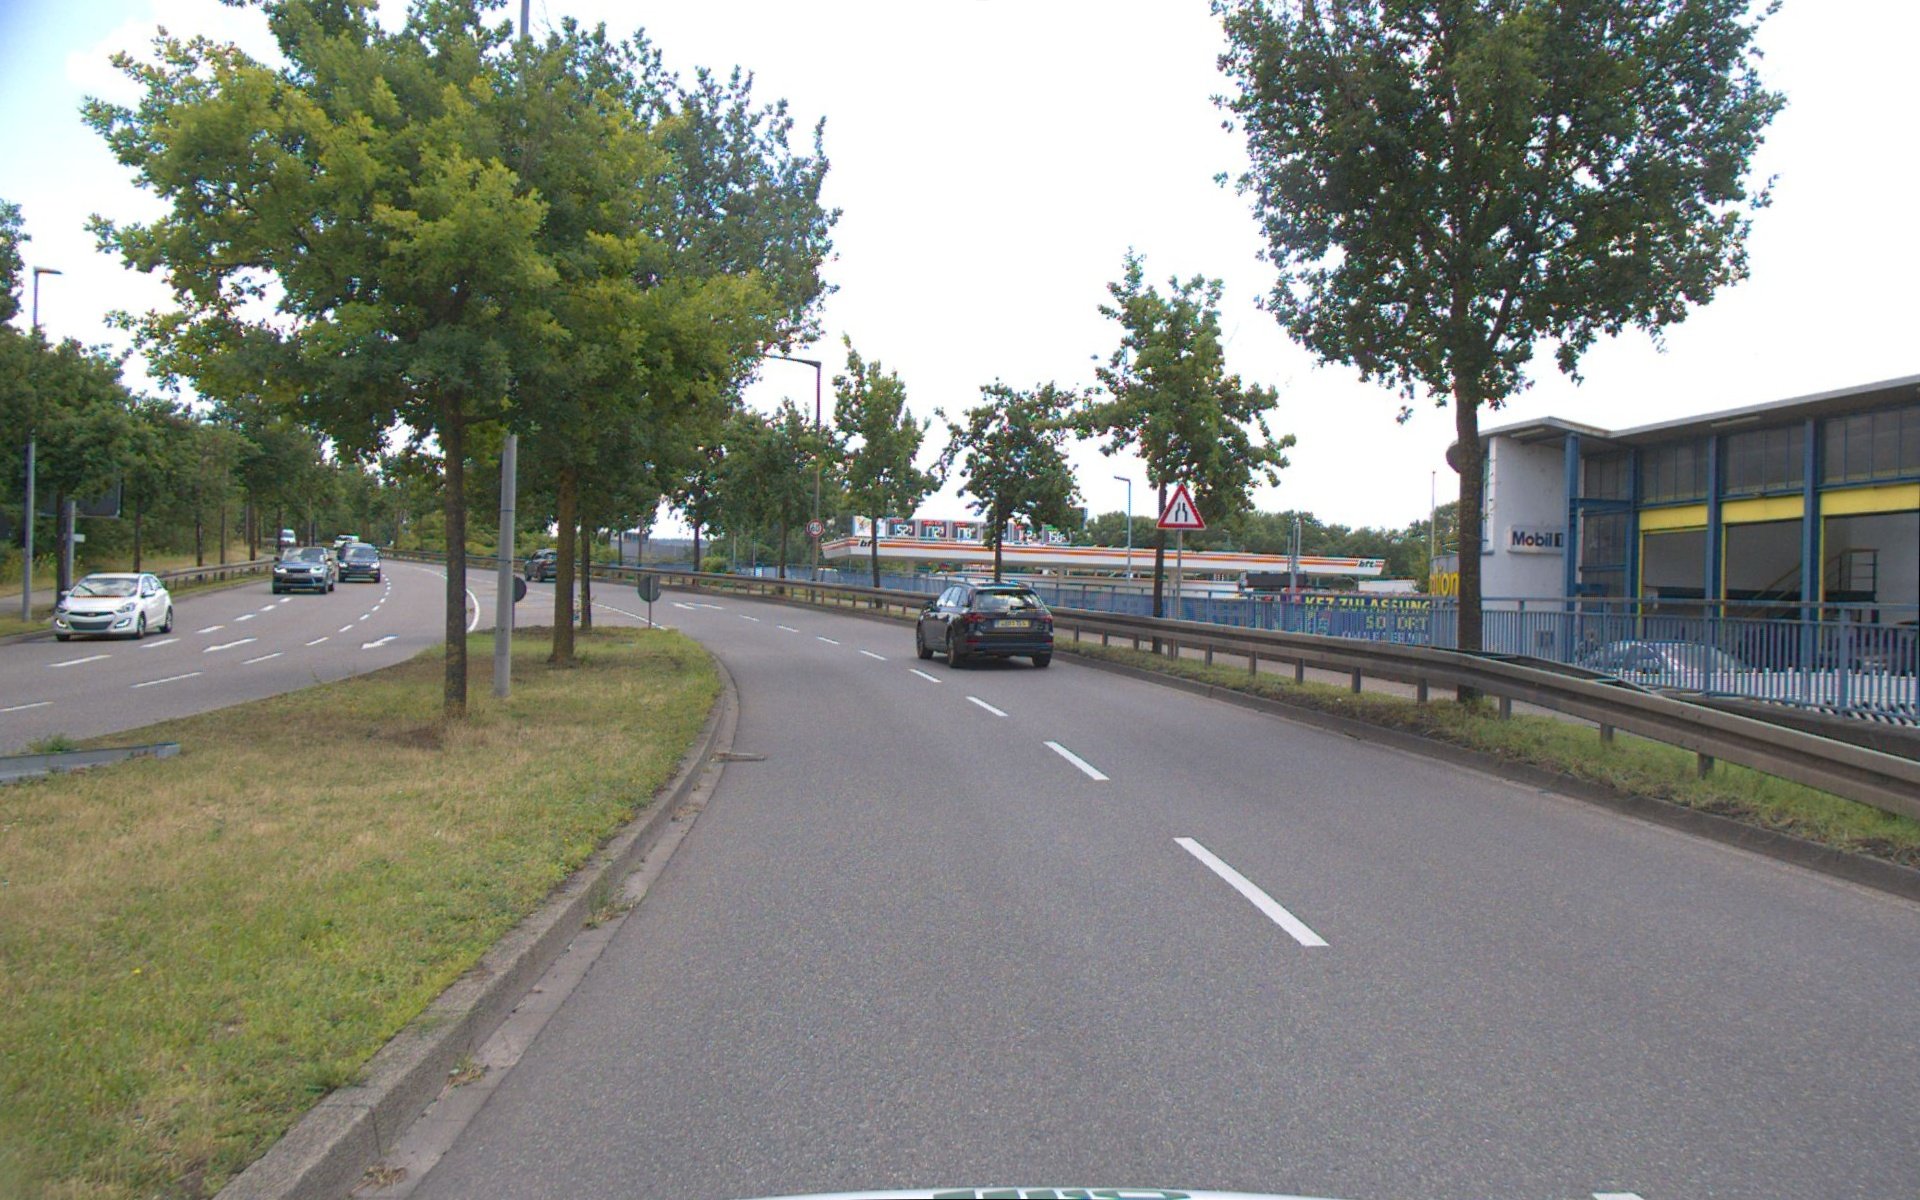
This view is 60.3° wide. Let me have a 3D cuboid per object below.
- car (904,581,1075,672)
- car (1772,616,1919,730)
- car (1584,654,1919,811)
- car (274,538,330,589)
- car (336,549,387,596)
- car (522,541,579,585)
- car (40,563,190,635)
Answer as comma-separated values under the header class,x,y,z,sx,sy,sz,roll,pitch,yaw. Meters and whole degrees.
class,x,y,z,sx,sy,sz,roll,pitch,yaw
car,0.424,0.419,29.632,1.959,1.414,4.560,3,0,-13
car,18.820,1.416,31.742,5.703,2.049,2.225,2,-1,-14
car,9.476,1.445,19.425,1.956,1.383,4.740,1,1,-9
car,-26.053,-1.418,65.443,1.966,1.894,4.682,1,0,-23
car,-28.387,-1.326,78.511,1.962,2.048,4.796,1,2,-17
car,-21.160,-1.890,85.373,1.968,2.073,4.676,2,-1,-24
car,-19.729,-0.026,38.818,1.958,1.559,4.320,-1,0,-11
